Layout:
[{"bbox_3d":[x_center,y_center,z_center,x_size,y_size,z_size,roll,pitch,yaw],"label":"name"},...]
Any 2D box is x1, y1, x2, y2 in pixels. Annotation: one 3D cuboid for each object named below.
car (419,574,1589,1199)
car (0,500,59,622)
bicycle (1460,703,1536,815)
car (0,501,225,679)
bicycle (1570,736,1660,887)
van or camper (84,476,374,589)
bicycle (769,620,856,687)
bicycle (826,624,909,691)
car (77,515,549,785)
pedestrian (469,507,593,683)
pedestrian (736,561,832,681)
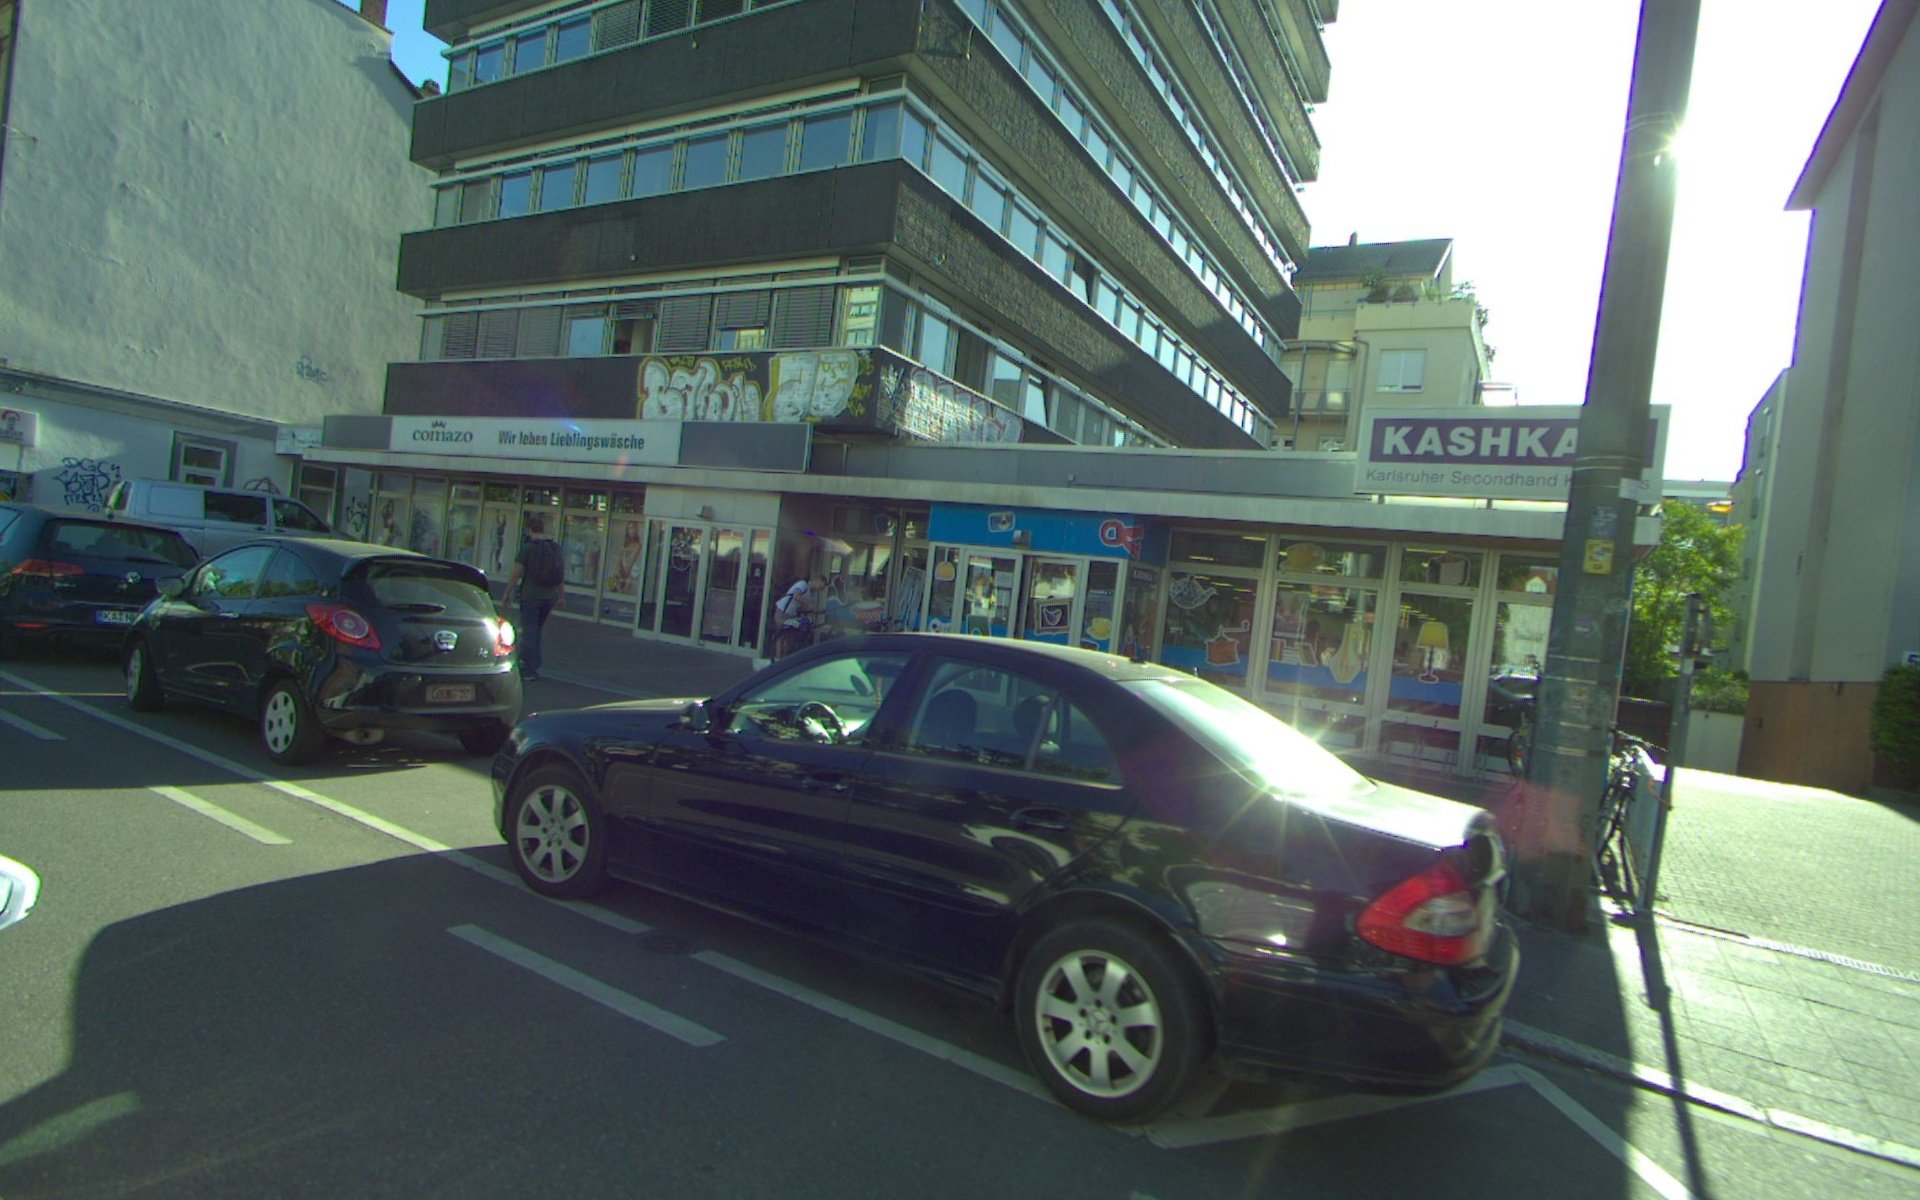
[{"bbox_3d":[-0.125,0.892,4.529,4.847,1.500,1.732,5,-2,31],"label":"car"},{"bbox_3d":[-13.643,-0.718,13.114,3.715,1.471,1.717,7,-2,31],"label":"car"},{"bbox_3d":[6.017,1.723,11.207,0.563,0.978,1.802,6,2,31],"label":"bicycle"},{"bbox_3d":[-9.705,-0.223,10.497,4.156,1.500,1.702,6,-2,31],"label":"car"},{"bbox_3d":[5.491,1.721,8.499,0.399,0.934,1.811,6,1,28],"label":"bicycle"},{"bbox_3d":[-15.786,-1.397,21.980,1.968,1.959,4.689,7,3,35],"label":"van or camper"},{"bbox_3d":[-2.206,0.783,15.187,0.334,0.934,1.571,6,3,30],"label":"bicycle"},{"bbox_3d":[-1.387,0.882,15.350,0.334,0.933,1.572,6,0,30],"label":"bicycle"},{"bbox_3d":[-5.063,0.307,7.795,3.498,1.500,1.574,6,-2,31],"label":"car"},{"bbox_3d":[-5.068,-0.064,11.880,1.046,1.934,0.685,6,-1,34],"label":"pedestrian"},{"bbox_3d":[-2.621,0.291,15.023,0.901,1.671,1.009,6,4,32],"label":"pedestrian"}]
